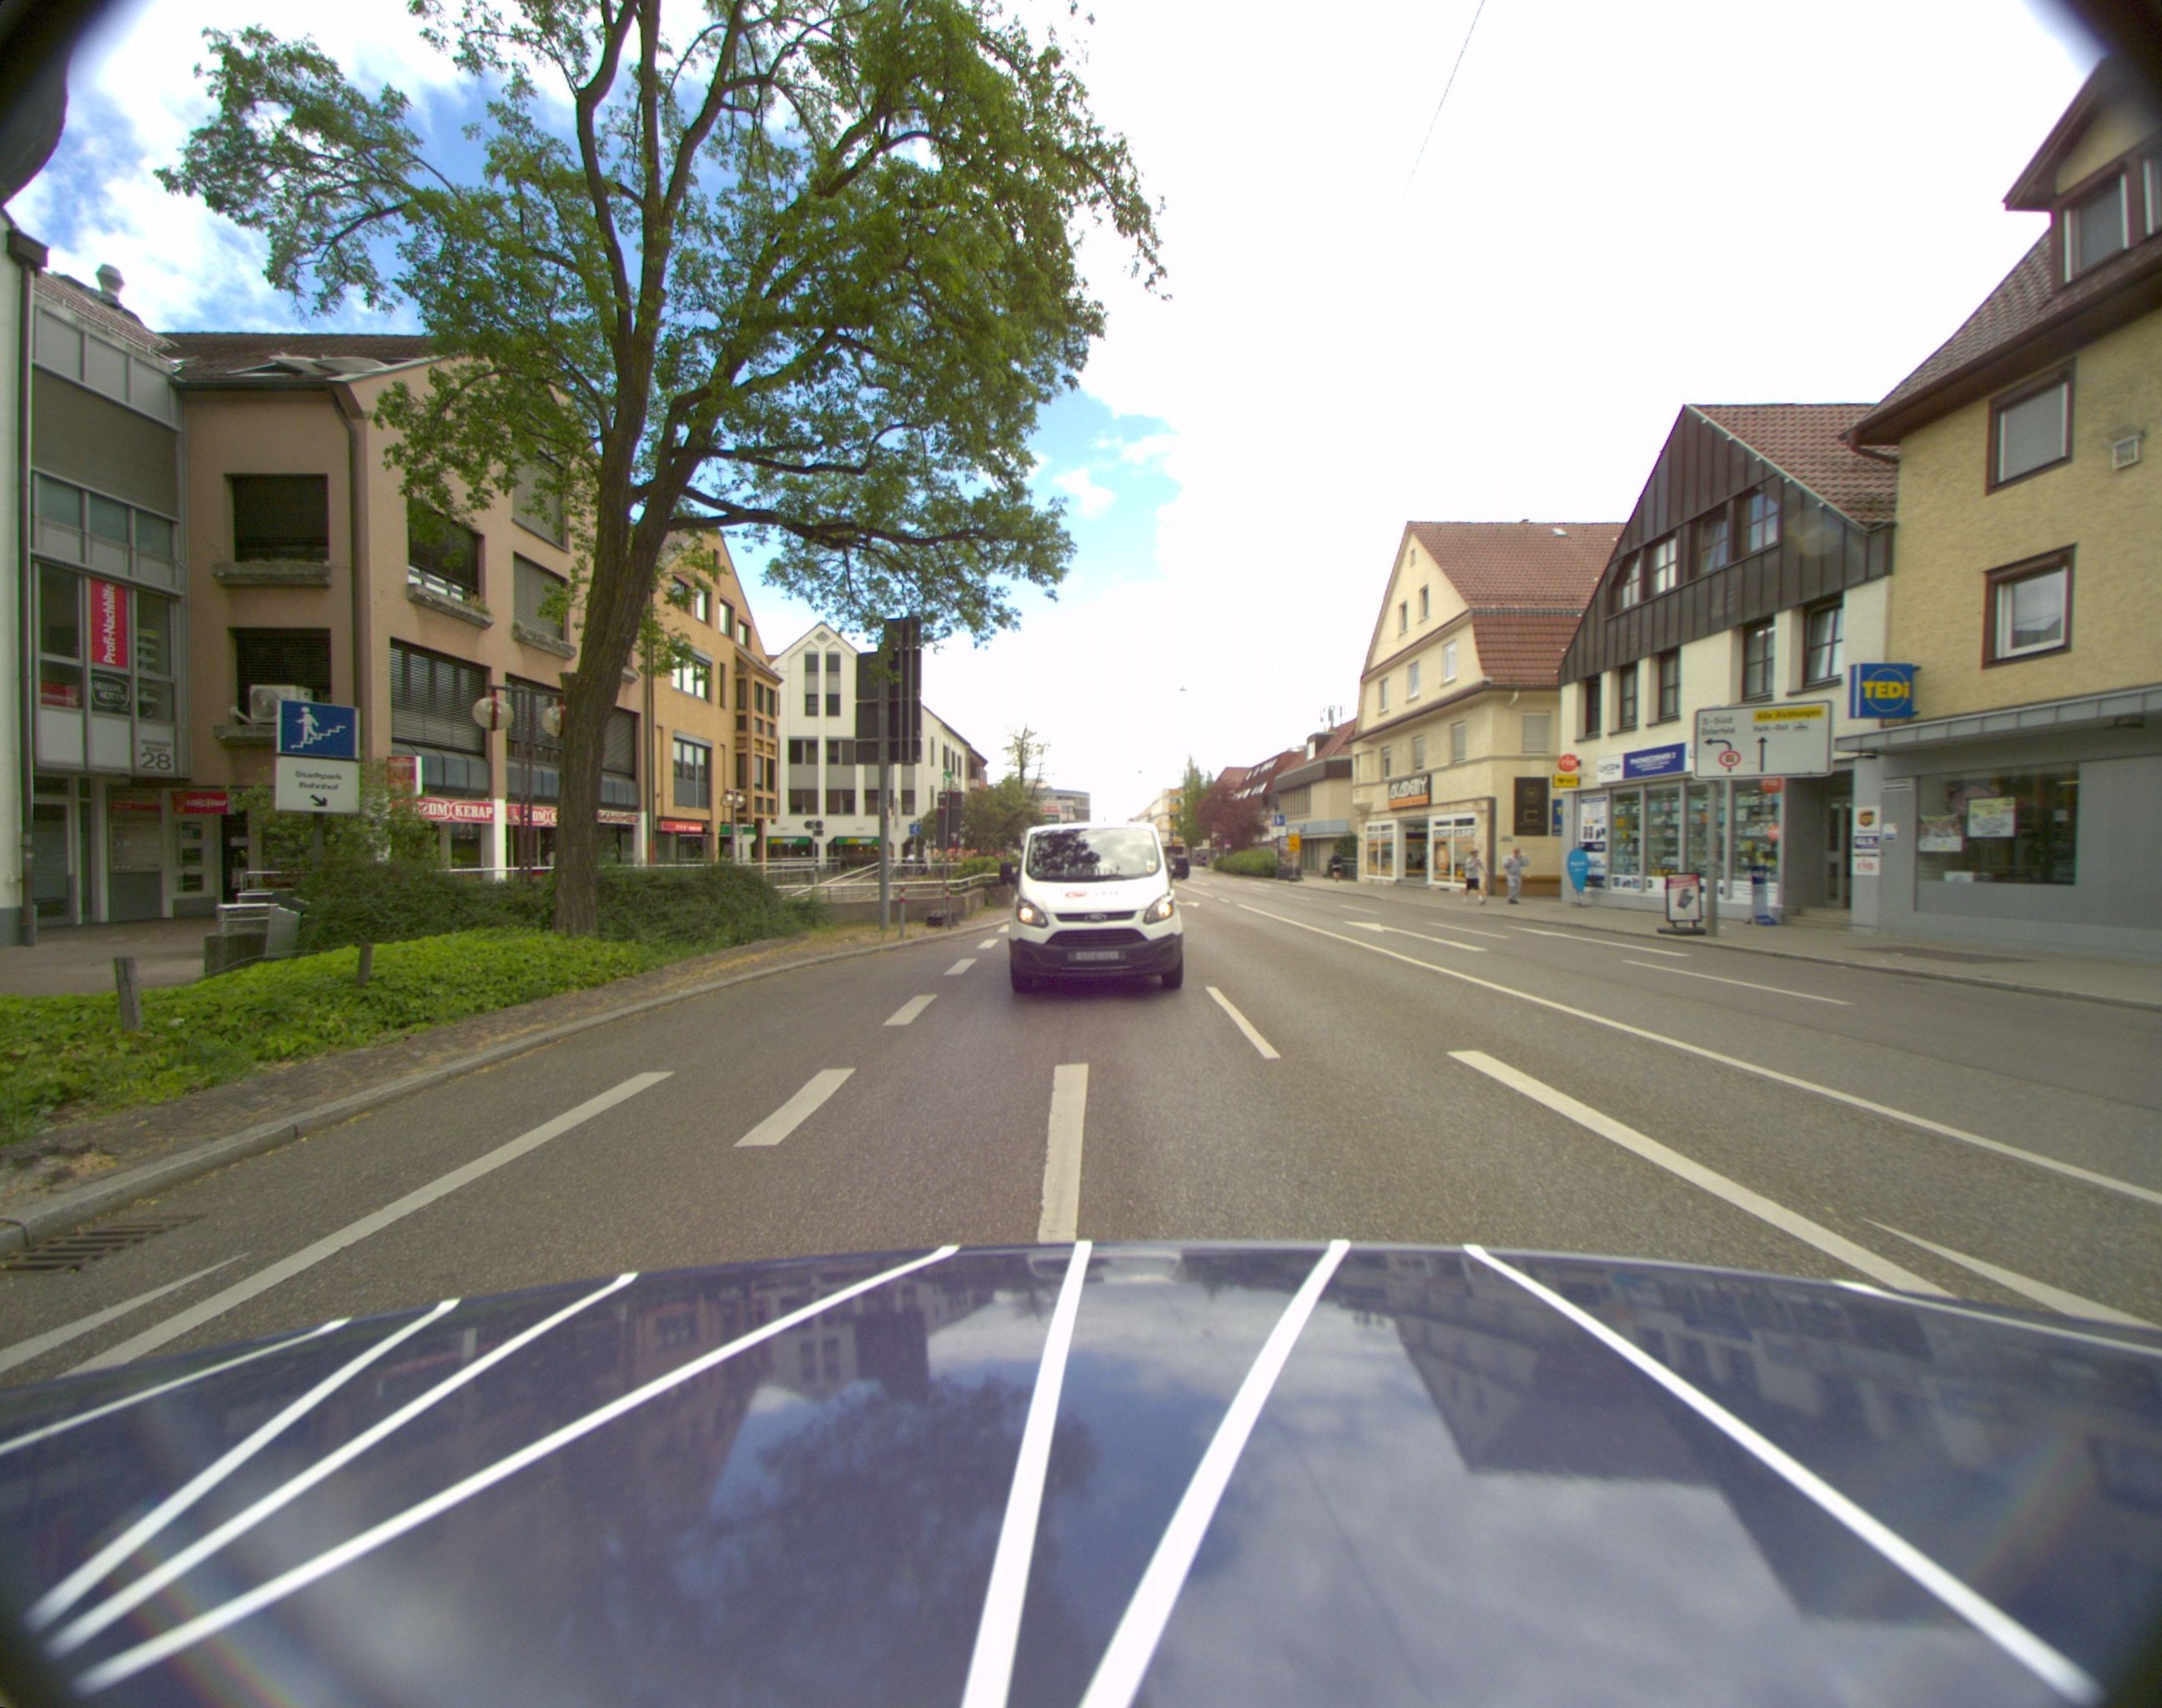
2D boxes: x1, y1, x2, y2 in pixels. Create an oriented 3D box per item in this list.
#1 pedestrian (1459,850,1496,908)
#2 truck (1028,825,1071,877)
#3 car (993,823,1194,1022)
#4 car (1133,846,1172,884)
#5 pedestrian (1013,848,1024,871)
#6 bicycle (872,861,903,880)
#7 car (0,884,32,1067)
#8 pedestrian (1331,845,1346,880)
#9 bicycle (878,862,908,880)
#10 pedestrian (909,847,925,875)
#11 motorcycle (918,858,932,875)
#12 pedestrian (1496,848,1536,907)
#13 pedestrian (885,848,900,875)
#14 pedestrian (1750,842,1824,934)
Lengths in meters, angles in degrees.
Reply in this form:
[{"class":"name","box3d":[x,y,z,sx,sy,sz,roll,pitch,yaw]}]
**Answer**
[{"class":"pedestrian","box3d":[11.827,0.725,22.686,0.689,1.680,0.742,-1,1,1]},{"class":"truck","box3d":[-2.190,-0.267,55.844,2.446,3.464,8.347,-2,1,1]},{"class":"car","box3d":[0.150,0.677,10.152,1.964,1.948,5.164,-1,0,0]},{"class":"car","box3d":[3.788,0.554,41.033,1.748,1.844,4.634,-2,0,1]},{"class":"pedestrian","box3d":[-4.333,0.359,52.599,0.653,1.568,0.684,-1,1,1]},{"class":"bicycle","box3d":[-10.370,0.883,40.785,1.594,0.996,0.414,0,1,-13]},{"class":"car","box3d":[-10.333,1.074,4.391,1.999,1.586,4.762,0,0,-2]},{"class":"pedestrian","box3d":[13.870,0.467,40.903,0.551,1.878,0.592,-2,1,-3]},{"class":"bicycle","box3d":[-10.301,0.907,41.605,1.594,0.963,0.461,0,1,-14]},{"class":"pedestrian","box3d":[-11.054,0.447,51.109,0.871,1.812,0.785,-2,1,-3]},{"class":"motorcycle","box3d":[-9.682,0.763,47.164,0.464,1.062,1.995,0,0,1]},{"class":"pedestrian","box3d":[12.792,0.679,22.366,0.689,1.660,0.709,-3,1,1]},{"class":"pedestrian","box3d":[-12.260,0.487,49.508,0.887,1.747,0.943,0,1,-11]},{"class":"pedestrian","box3d":[13.581,0.640,14.631,0.688,1.703,0.775,-2,1,1]}]
